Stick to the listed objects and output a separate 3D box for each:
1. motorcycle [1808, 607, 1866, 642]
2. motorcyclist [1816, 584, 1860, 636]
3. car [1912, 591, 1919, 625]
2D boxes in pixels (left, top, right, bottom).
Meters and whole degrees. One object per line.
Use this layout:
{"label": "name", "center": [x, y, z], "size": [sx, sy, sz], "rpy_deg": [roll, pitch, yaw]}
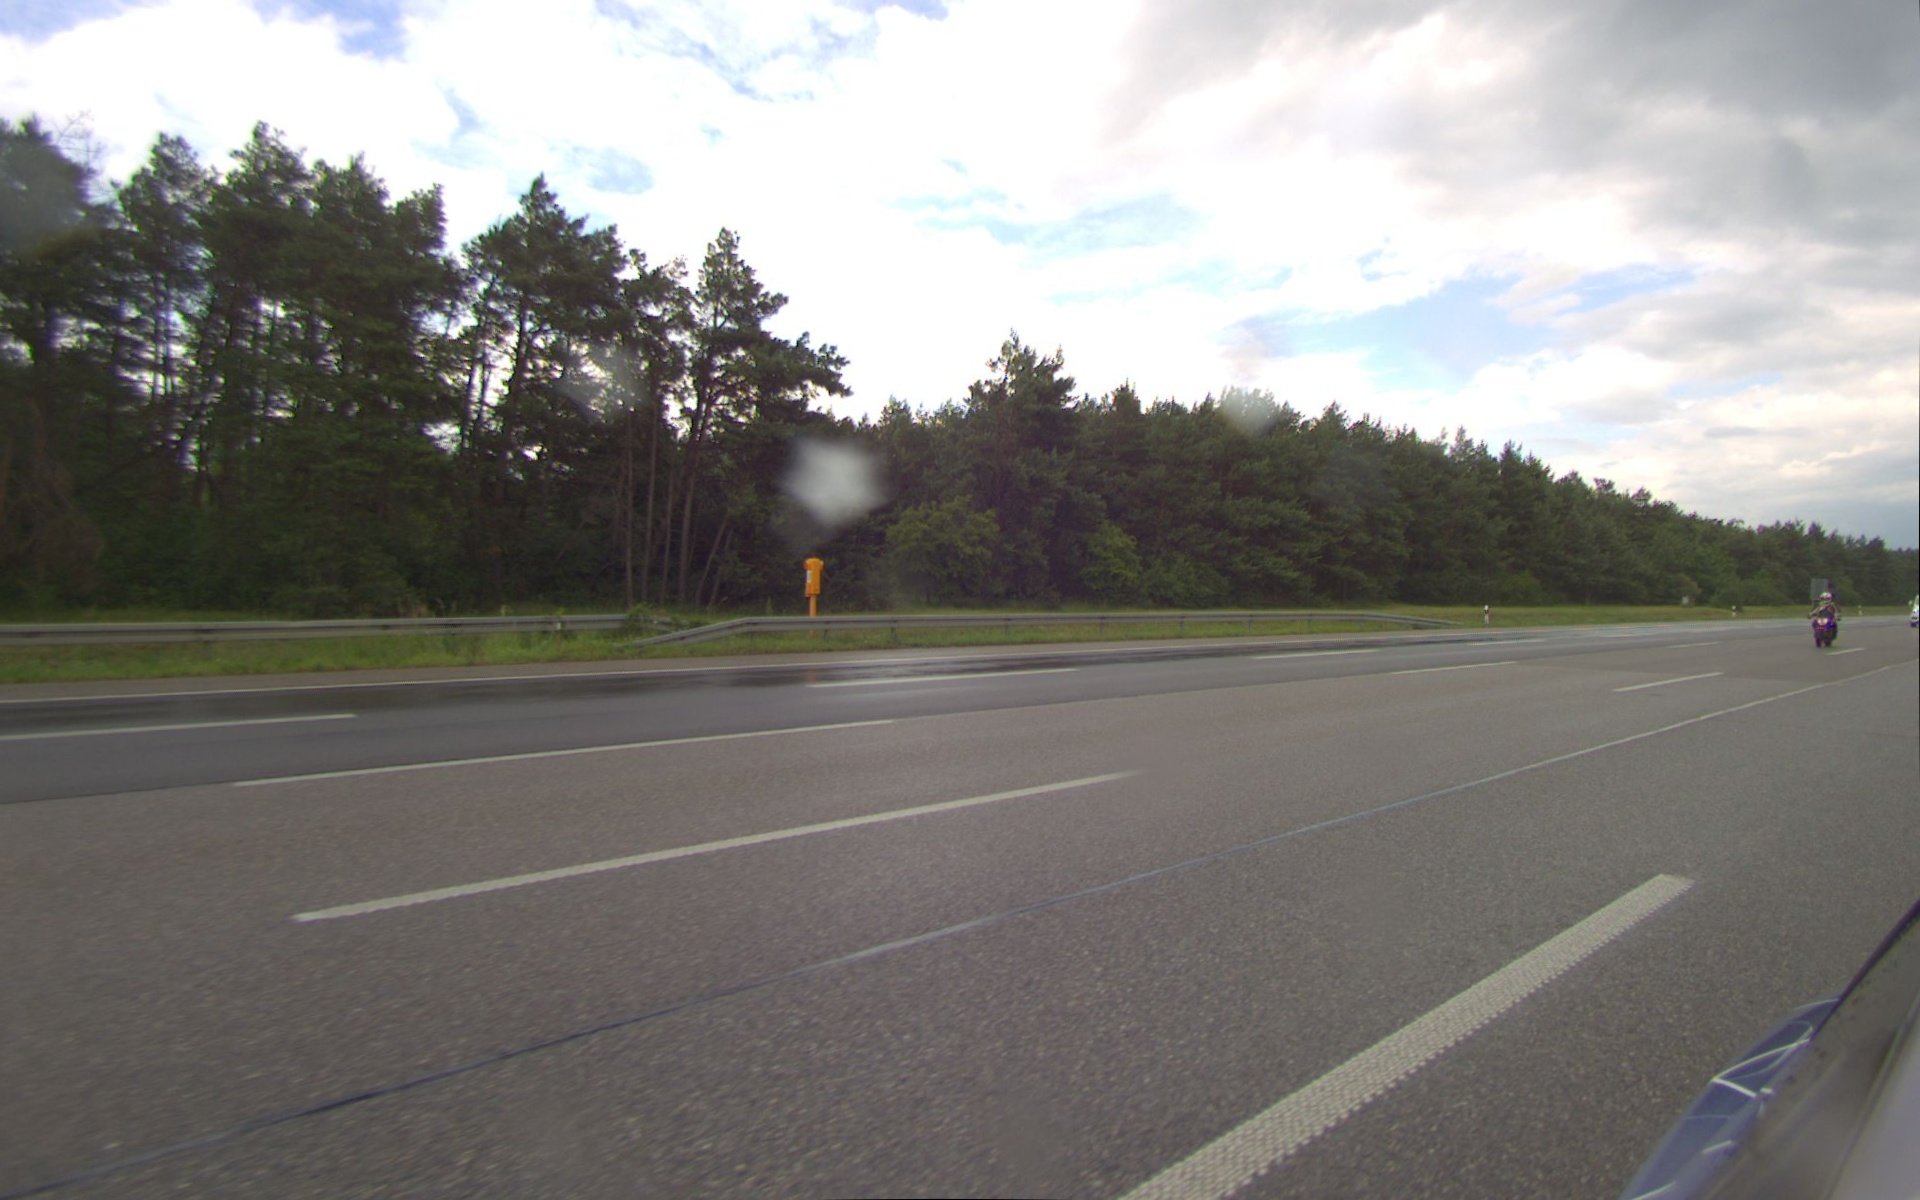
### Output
{"label": "motorcycle", "center": [28.069, 0.755, 32.388], "size": [2.134, 1.044, 1.002], "rpy_deg": [0, 1, -38]}
{"label": "motorcyclist", "center": [28.150, 0.300, 32.446], "size": [0.941, 1.635, 0.893], "rpy_deg": [0, 0, -38]}
{"label": "car", "center": [59.090, 0.482, 60.602], "size": [5.378, 2.039, 2.000], "rpy_deg": [0, 0, -35]}
